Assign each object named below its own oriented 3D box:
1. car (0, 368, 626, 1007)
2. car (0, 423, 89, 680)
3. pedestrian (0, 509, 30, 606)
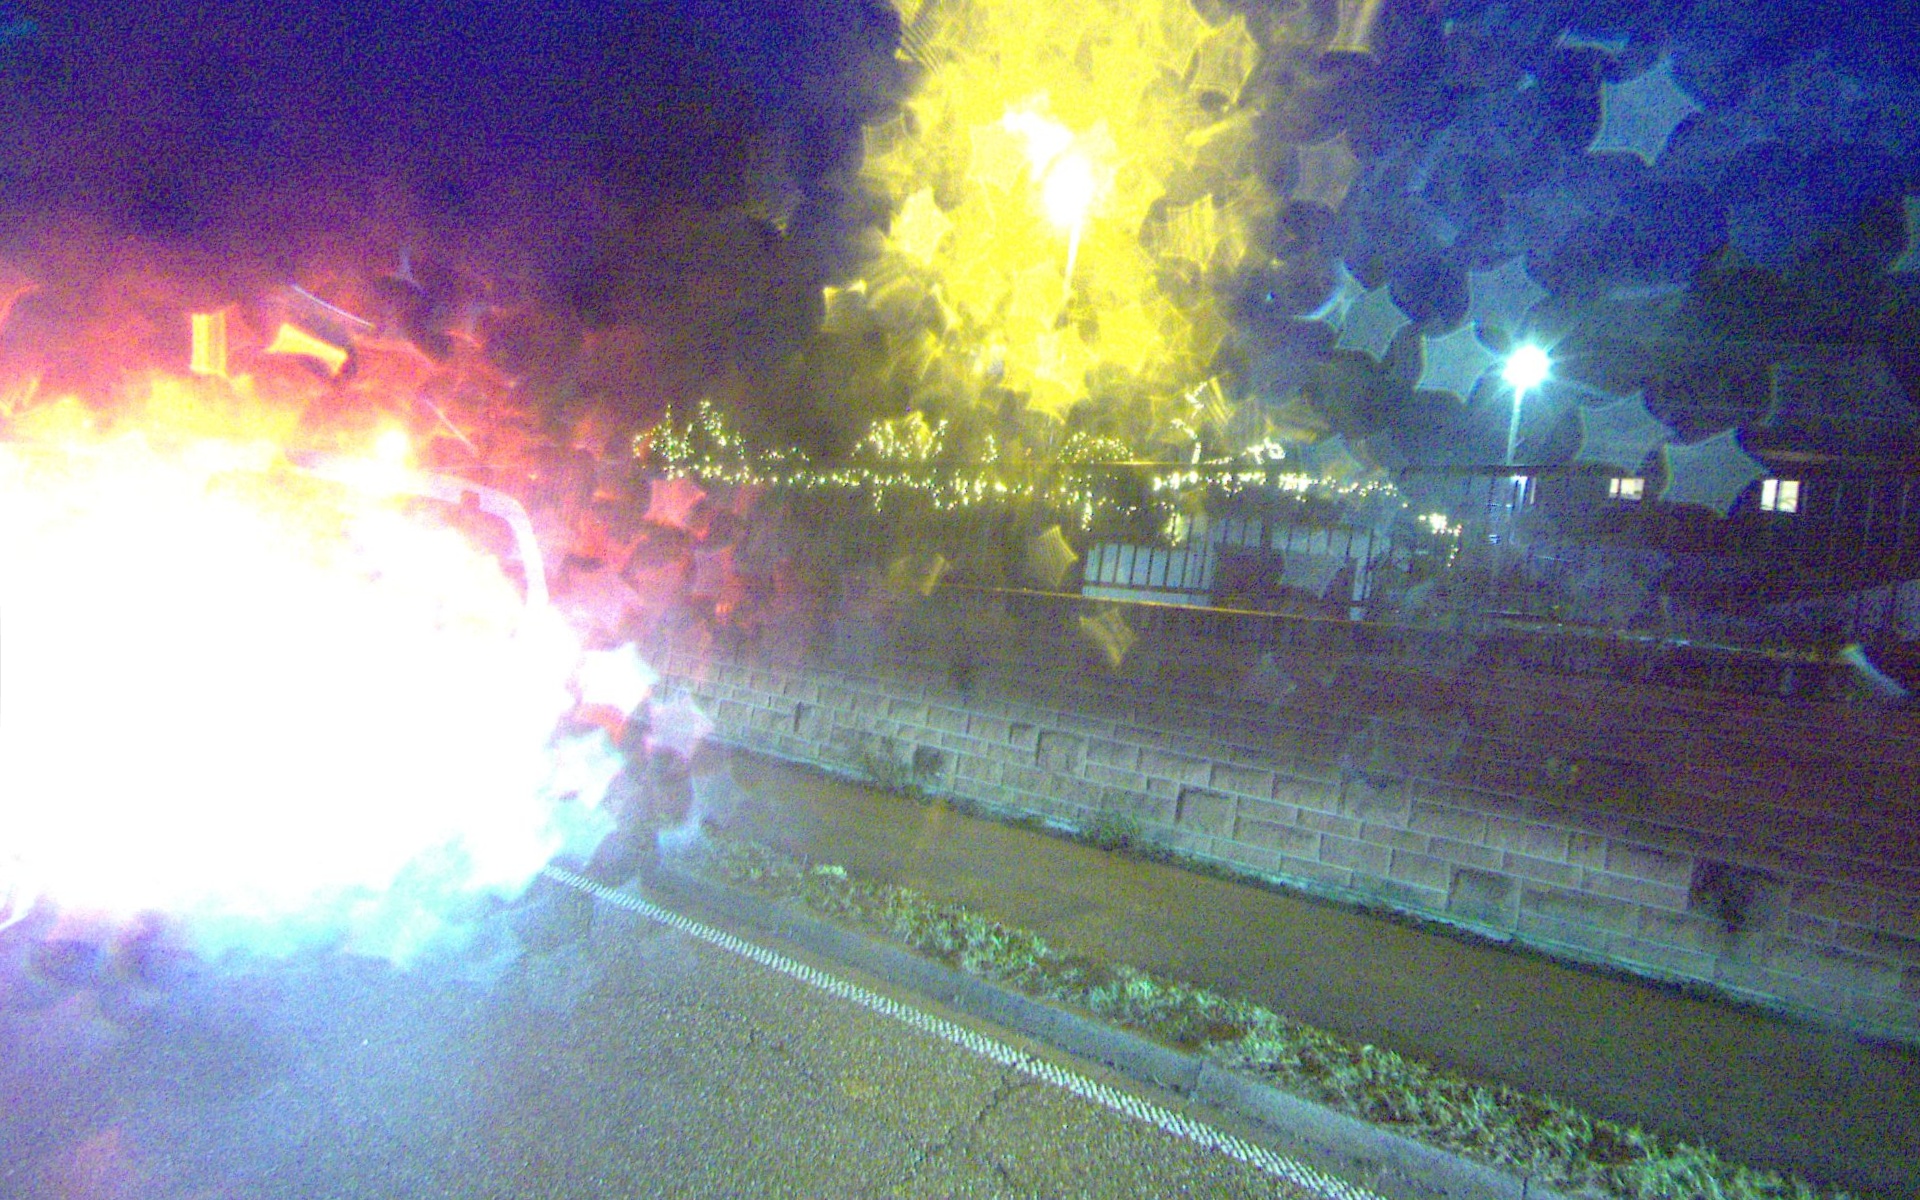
[{"bbox_3d":[-3.901,0.155,4.871,4.269,1.886,1.855,6,-2,32],"label":"car"},{"bbox_3d":[-9.770,-0.622,8.820,3.934,2.070,1.973,6,-2,32],"label":"car"},{"bbox_3d":[-17.615,-0.802,18.381,0.532,1.721,0.624,7,-1,29],"label":"pedestrian"}]
